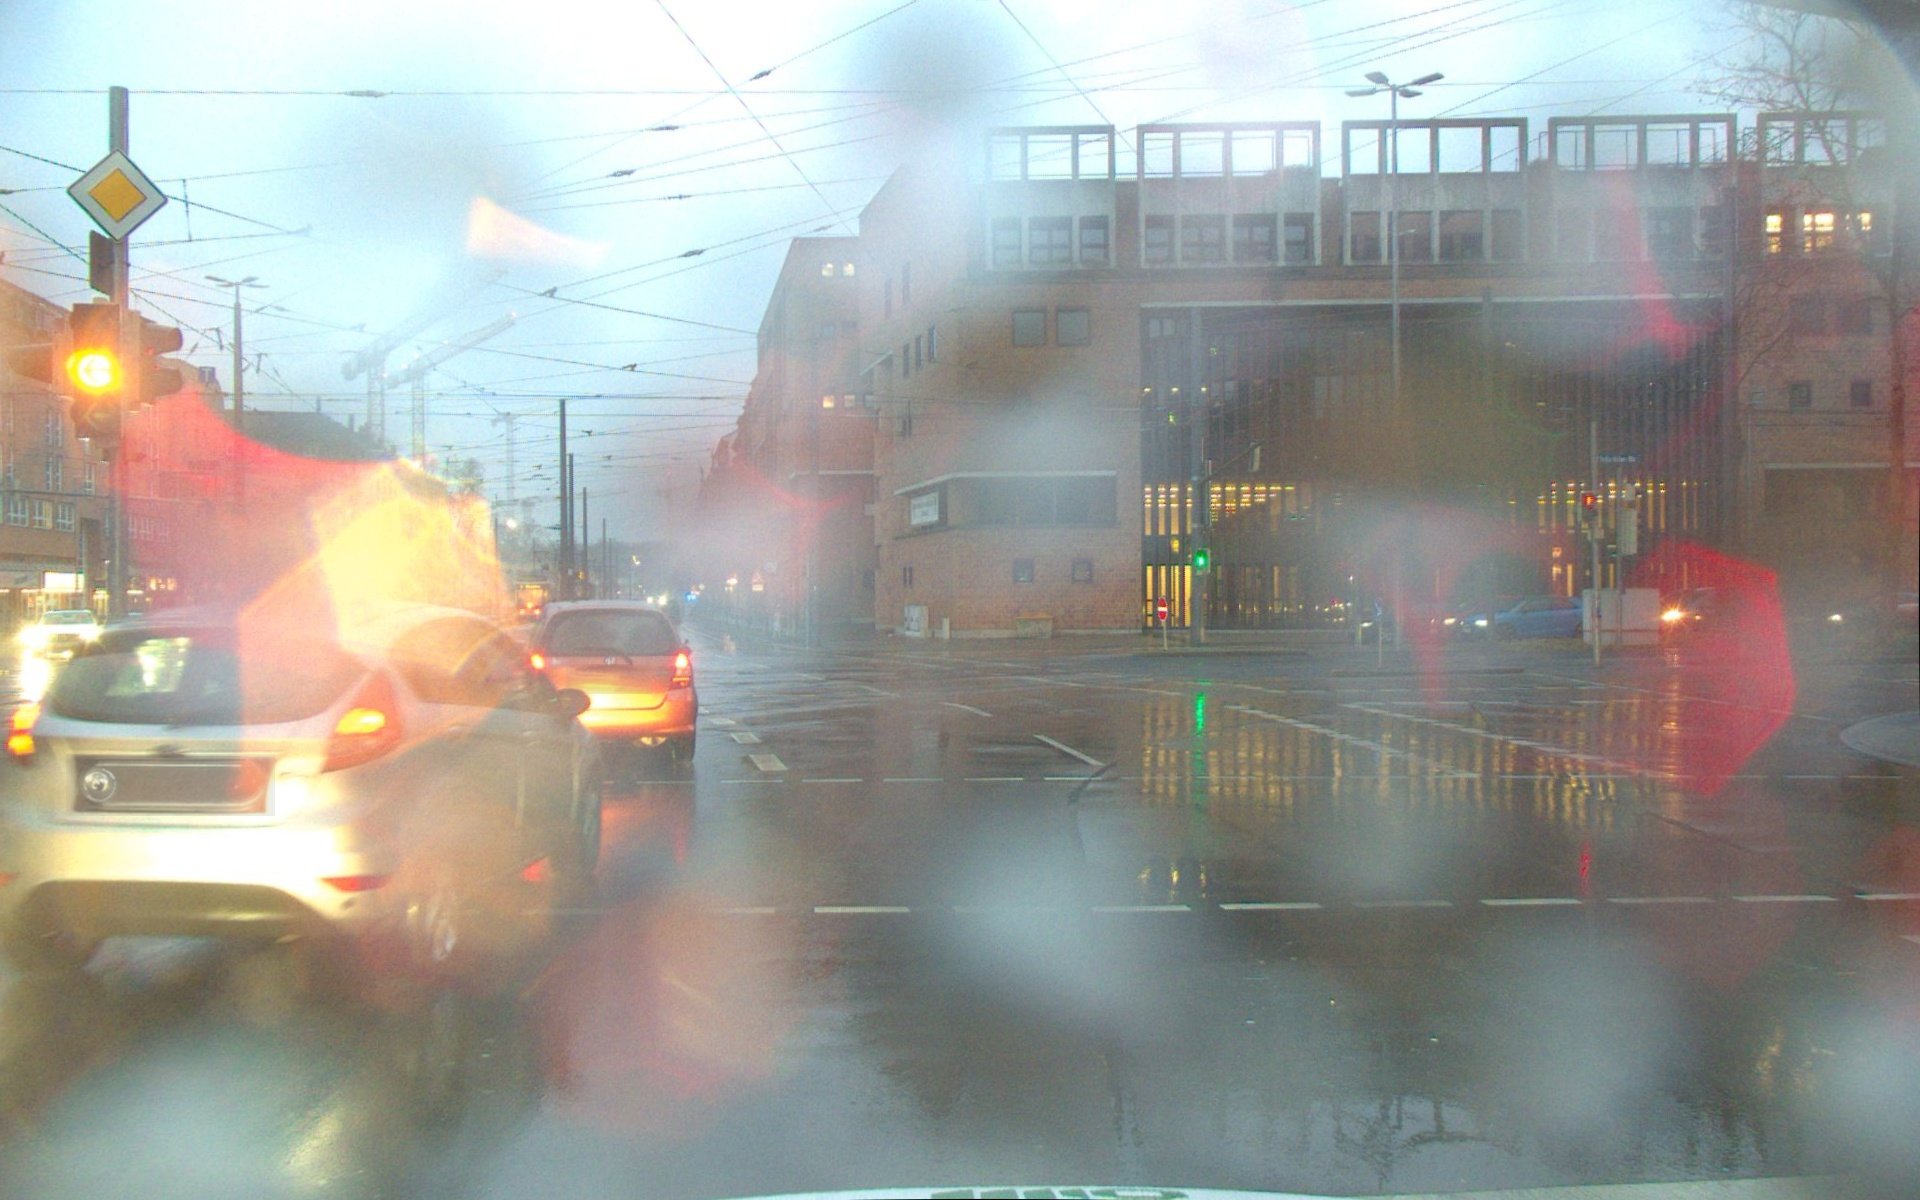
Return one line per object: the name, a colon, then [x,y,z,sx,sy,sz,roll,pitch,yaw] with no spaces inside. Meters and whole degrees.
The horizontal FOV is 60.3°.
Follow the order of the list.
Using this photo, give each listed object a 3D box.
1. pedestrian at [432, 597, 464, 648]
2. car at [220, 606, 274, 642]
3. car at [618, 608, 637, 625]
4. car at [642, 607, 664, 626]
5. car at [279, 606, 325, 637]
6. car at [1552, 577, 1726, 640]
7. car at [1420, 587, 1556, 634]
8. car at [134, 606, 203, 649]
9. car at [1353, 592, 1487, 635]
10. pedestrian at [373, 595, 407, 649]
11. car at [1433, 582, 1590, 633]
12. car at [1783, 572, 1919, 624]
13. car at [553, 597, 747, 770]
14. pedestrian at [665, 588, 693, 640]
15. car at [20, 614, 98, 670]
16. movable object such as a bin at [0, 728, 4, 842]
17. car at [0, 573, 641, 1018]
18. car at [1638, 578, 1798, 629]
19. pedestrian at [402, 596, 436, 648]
pedestrian: [-20.576,0.886,66.481,0.959,2.049,0.835,0,0,14]
car: [-34.115,1.137,79.228,1.756,1.652,3.852,0,0,-14]
car: [-34.209,1.685,170.337,1.837,1.606,3.990,2,0,-10]
car: [-28.995,1.550,156.447,1.836,1.606,3.992,2,0,-9]
car: [-35.906,1.176,90.332,1.756,1.652,3.852,0,0,-14]
car: [18.227,0.206,44.493,3.910,1.530,1.846,-1,4,-7]
car: [16.600,0.318,52.134,3.649,1.284,1.846,-1,4,-7]
car: [-32.188,1.091,67.355,1.756,1.652,3.852,0,0,-14]
car: [15.535,0.451,55.945,3.909,1.333,1.998,-1,0,-5]
pedestrian: [-22.053,0.841,64.013,0.959,2.049,0.835,0,0,14]
car: [15.975,0.210,48.038,3.910,1.284,1.846,-1,4,-7]
car: [29.330,-0.083,54.117,3.910,1.530,1.846,-1,4,-7]
car: [-3.099,0.729,16.412,1.668,1.485,3.746,-1,0,-12]
pedestrian: [-11.232,0.566,66.184,1.050,2.049,0.683,0,0,-14]
car: [-28.056,1.263,51.542,2.021,1.588,4.787,-1,0,-29]
movable object such as a bin: [-6.301,1.170,10.223,0.403,0.711,0.538,-3,-1,24]
car: [-2.726,0.717,7.643,1.670,1.473,4.000,-2,-1,0]
car: [22.346,0.092,48.843,3.910,1.310,1.846,-1,4,-7]
pedestrian: [-21.350,0.863,65.268,0.959,2.049,0.835,0,0,14]
